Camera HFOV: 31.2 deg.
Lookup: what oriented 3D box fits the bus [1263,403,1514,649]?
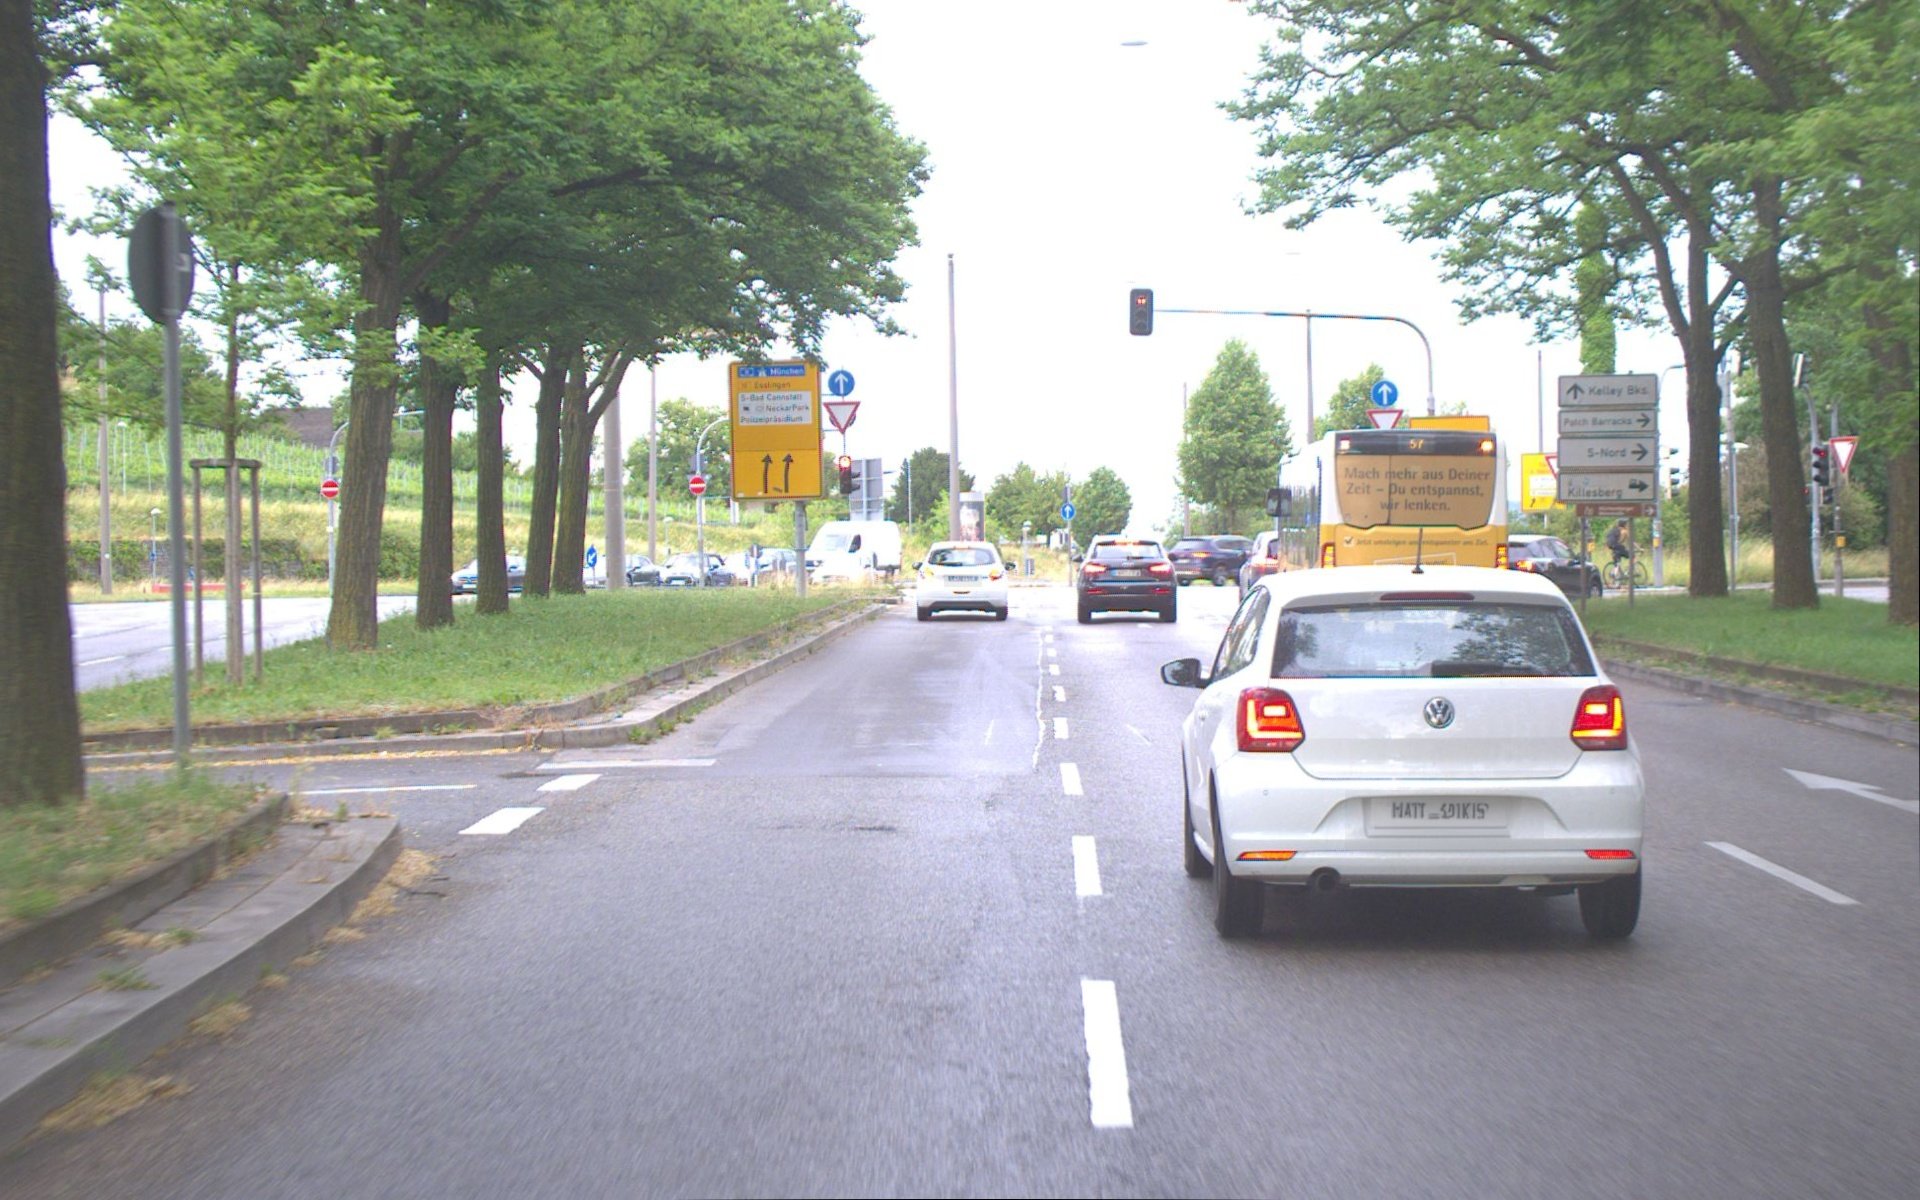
[{"bbox_3d":[6.131,-1.084,50.690,2.828,3.255,10.000,0,1,2],"label":"bus"}]

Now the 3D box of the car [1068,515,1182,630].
[{"bbox_3d":[3.015,-0.490,63.471,1.993,2.007,4.000,-1,0,2],"label":"car"}]

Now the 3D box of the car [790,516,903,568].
[{"bbox_3d":[-4.697,-2.435,143.273,1.997,2.007,5.701,-1,1,30],"label":"car"}]

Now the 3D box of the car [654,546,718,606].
[{"bbox_3d":[-9.546,-0.814,119.914,1.993,2.007,4.000,0,0,-1],"label":"car"}]

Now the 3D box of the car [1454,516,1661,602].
[{"bbox_3d":[10.919,-0.754,62.719,3.817,1.510,1.699,-1,0,-42],"label":"car"}]

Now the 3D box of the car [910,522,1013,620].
[{"bbox_3d":[0.051,-0.555,65.180,1.794,1.735,4.000,-2,0,2],"label":"car"}]

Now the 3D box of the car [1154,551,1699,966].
[{"bbox_3d":[1.829,0.555,14.652,1.794,1.497,4.000,1,1,0],"label":"car"}]

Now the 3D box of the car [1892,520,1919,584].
[{"bbox_3d":[24.858,-1.210,83.540,3.992,1.531,1.998,-1,1,23],"label":"car"}]
